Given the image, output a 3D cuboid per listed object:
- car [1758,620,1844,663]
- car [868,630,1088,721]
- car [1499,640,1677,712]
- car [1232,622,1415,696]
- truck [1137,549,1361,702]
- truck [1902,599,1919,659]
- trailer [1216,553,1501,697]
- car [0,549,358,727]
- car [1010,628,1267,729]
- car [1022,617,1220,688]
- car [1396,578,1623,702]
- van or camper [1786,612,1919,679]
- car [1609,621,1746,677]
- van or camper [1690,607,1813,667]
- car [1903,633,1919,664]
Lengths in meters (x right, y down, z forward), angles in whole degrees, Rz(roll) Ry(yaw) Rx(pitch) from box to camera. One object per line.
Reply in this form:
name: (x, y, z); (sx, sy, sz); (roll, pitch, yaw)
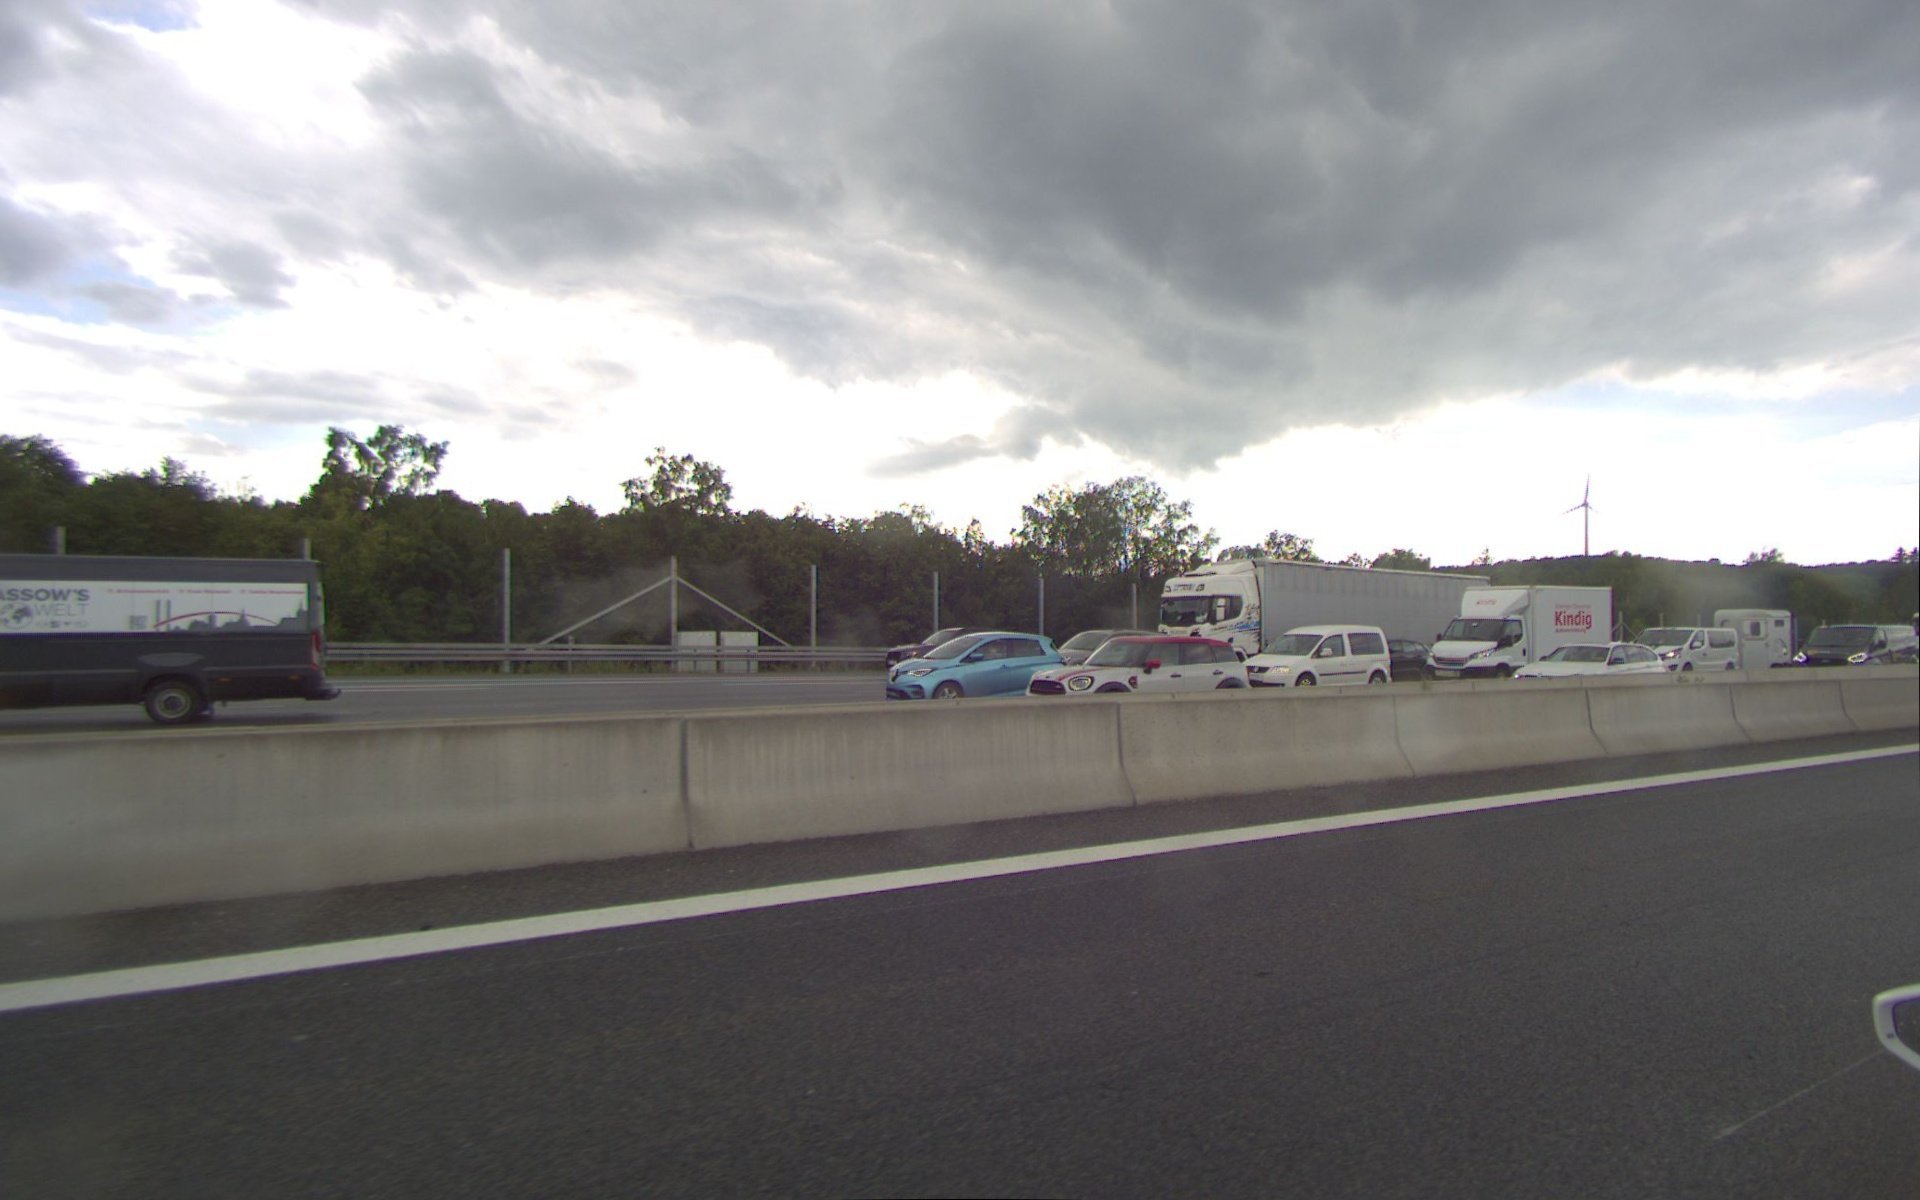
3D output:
car: (41.469, 2.022, 49.526); (3.953, 1.995, 2.085); (1, -1, -30)
car: (0.402, 1.461, 20.600); (4.230, 1.643, 1.793); (1, 0, -30)
car: (15.400, 1.789, 24.557); (4.876, 1.513, 1.634); (1, 0, -31)
car: (9.198, 1.429, 25.312); (4.739, 1.689, 1.704); (1, 0, -30)
truck: (10.351, 0.868, 35.724); (7.937, 4.921, 3.130); (1, 0, -32)
truck: (59.601, 1.755, 60.285); (6.720, 3.561, 2.715); (1, 0, -30)
trailer: (15.823, 0.955, 39.156); (13.146, 4.921, 3.130); (1, 0, -32)
car: (-13.859, 0.583, 15.993); (7.274, 2.580, 2.260); (2, -1, -31)
car: (3.156, 1.274, 17.503); (4.342, 1.518, 1.750); (1, 0, -30)
car: (4.285, 1.306, 26.334); (5.254, 1.689, 1.704); (1, 0, -31)
car: (16.638, 1.130, 30.219); (7.537, 3.344, 2.486); (1, 0, -31)
van or camper: (29.784, 1.465, 33.084); (6.272, 2.040, 1.984); (2, -1, -31)
car: (25.711, 1.715, 35.933); (5.598, 1.848, 1.849); (1, 0, -31)
van or camper: (30.731, 1.392, 38.973); (4.913, 2.215, 2.085); (1, 0, -30)
car: (49.783, 2.453, 50.884); (4.301, 1.523, 1.791); (2, -1, -30)
